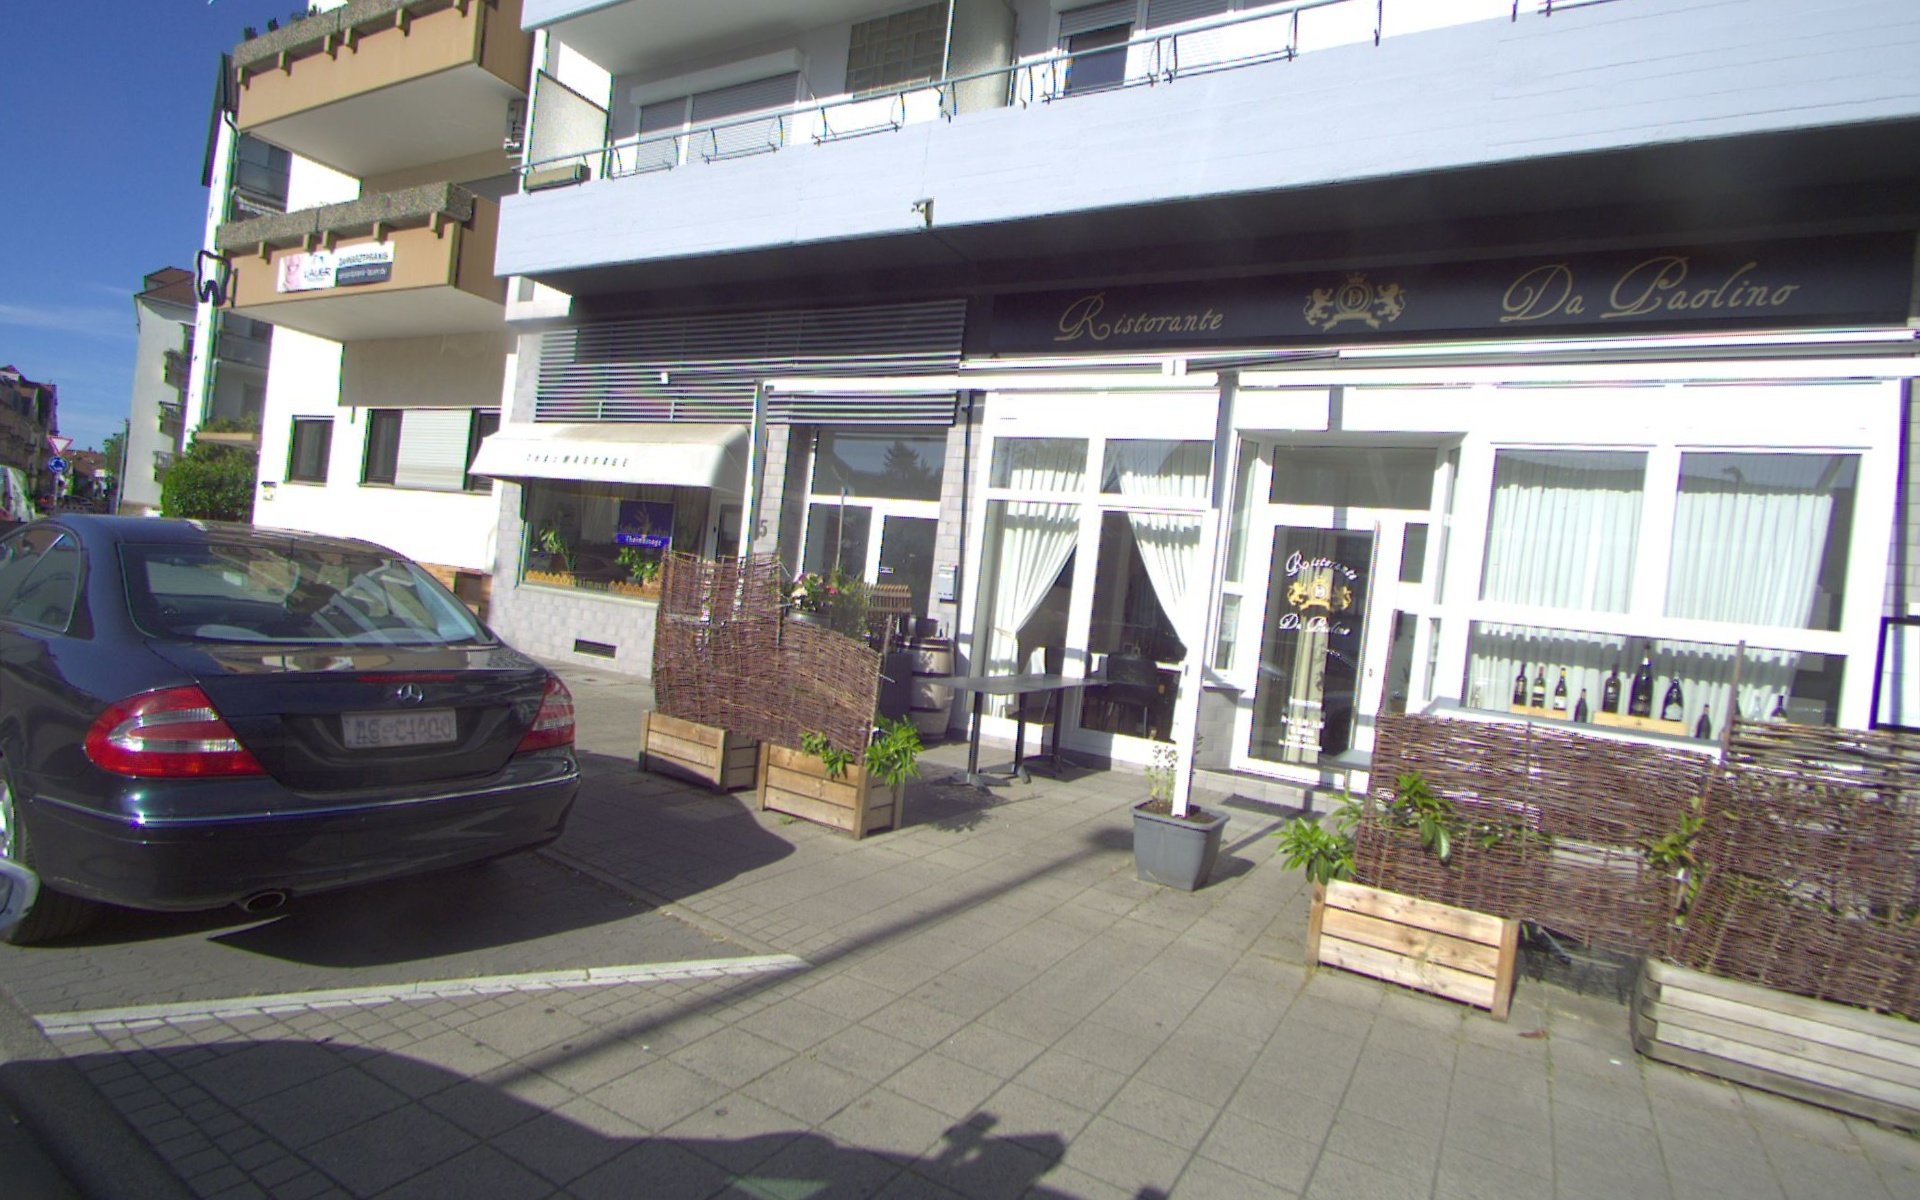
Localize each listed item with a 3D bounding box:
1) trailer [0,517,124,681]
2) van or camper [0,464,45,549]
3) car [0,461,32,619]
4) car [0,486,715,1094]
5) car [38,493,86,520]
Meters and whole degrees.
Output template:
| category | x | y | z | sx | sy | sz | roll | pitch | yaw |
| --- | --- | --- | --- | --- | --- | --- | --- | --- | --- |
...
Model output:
| category | x | y | z | sx | sy | sz | roll | pitch | yaw |
| --- | --- | --- | --- | --- | --- | --- | --- | --- | --- |
| trailer | -8.297 | -0.118 | 8.404 | 2.903 | 1.192 | 1.600 | 6 | -1 | 43 |
| van or camper | -24.782 | -2.436 | 25.341 | 2.008 | 1.973 | 4.655 | 4 | 1 | -37 |
| car | -12.401 | -0.801 | 11.666 | 4.497 | 1.673 | 1.815 | 3 | -2 | 41 |
| car | -3.565 | 0.361 | 4.735 | 4.929 | 1.468 | 1.970 | 6 | -1 | 38 |
| car | -73.301 | -7.616 | 82.176 | 2.419 | 1.833 | 4.674 | 7 | 0 | -38 |
